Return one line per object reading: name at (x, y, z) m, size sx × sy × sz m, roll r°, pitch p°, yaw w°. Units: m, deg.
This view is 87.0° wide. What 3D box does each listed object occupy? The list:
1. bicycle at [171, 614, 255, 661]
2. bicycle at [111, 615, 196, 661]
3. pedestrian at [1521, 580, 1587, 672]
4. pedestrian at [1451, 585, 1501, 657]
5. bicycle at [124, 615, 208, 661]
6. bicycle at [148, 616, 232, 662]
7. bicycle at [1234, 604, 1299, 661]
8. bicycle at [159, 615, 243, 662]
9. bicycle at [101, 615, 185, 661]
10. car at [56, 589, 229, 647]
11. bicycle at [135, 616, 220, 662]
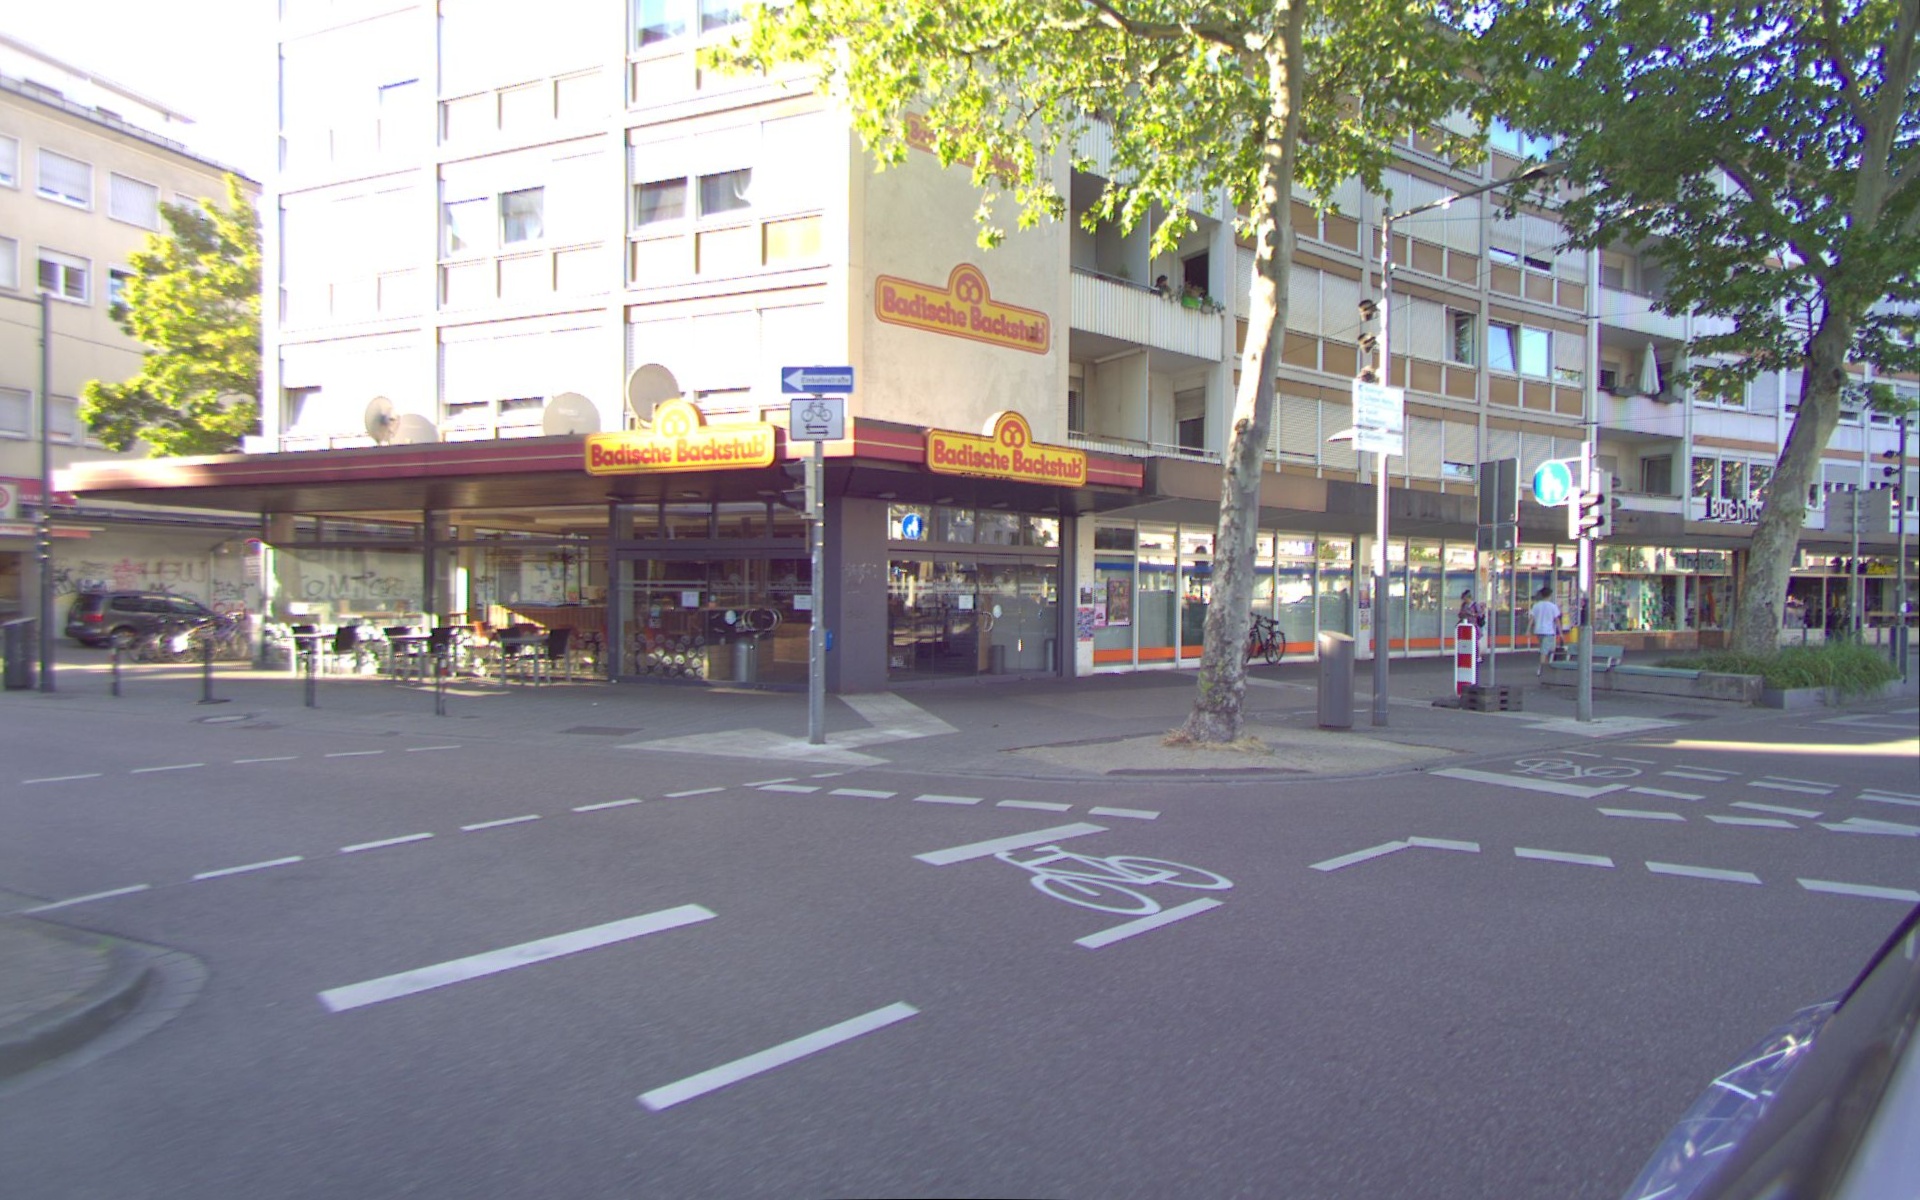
bicycle at (-16.850, 0.820, 22.865) m, size 0.352 × 0.994 × 1.596 m, roll -1°, pitch 0°, yaw 20°
bicycle at (-18.766, 0.873, 23.585) m, size 0.352 × 0.994 × 1.596 m, roll -1°, pitch 0°, yaw 20°
pedestrian at (11.732, 0.497, 19.985) m, size 0.779 × 1.733 × 0.837 m, roll 1°, pitch 2°, yaw -40°
pedestrian at (11.555, 0.448, 22.660) m, size 0.791 × 1.571 × 0.642 m, roll 0°, pitch 1°, yaw -29°
bicycle at (-18.367, 0.868, 23.449) m, size 0.352 × 0.994 × 1.596 m, roll -1°, pitch 0°, yaw 20°
bicycle at (-17.602, 0.871, 23.168) m, size 0.352 × 0.994 × 1.596 m, roll -1°, pitch 0°, yaw 20°
bicycle at (6.271, 0.655, 20.697) m, size 1.434 × 1.106 × 0.439 m, roll 0°, pitch 3°, yaw -35°
bicycle at (-17.218, 0.854, 23.003) m, size 0.352 × 0.994 × 1.596 m, roll -1°, pitch 0°, yaw 20°
bicycle at (-19.127, 0.878, 23.730) m, size 0.352 × 0.994 × 1.596 m, roll -1°, pitch 0°, yaw 20°
car at (-24.271, 0.475, 30.179) m, size 1.641 × 1.608 × 3.701 m, roll 1°, pitch 1°, yaw 24°
bicycle at (-17.994, 0.874, 23.311) m, size 0.352 × 0.994 × 1.596 m, roll -1°, pitch 0°, yaw 20°
